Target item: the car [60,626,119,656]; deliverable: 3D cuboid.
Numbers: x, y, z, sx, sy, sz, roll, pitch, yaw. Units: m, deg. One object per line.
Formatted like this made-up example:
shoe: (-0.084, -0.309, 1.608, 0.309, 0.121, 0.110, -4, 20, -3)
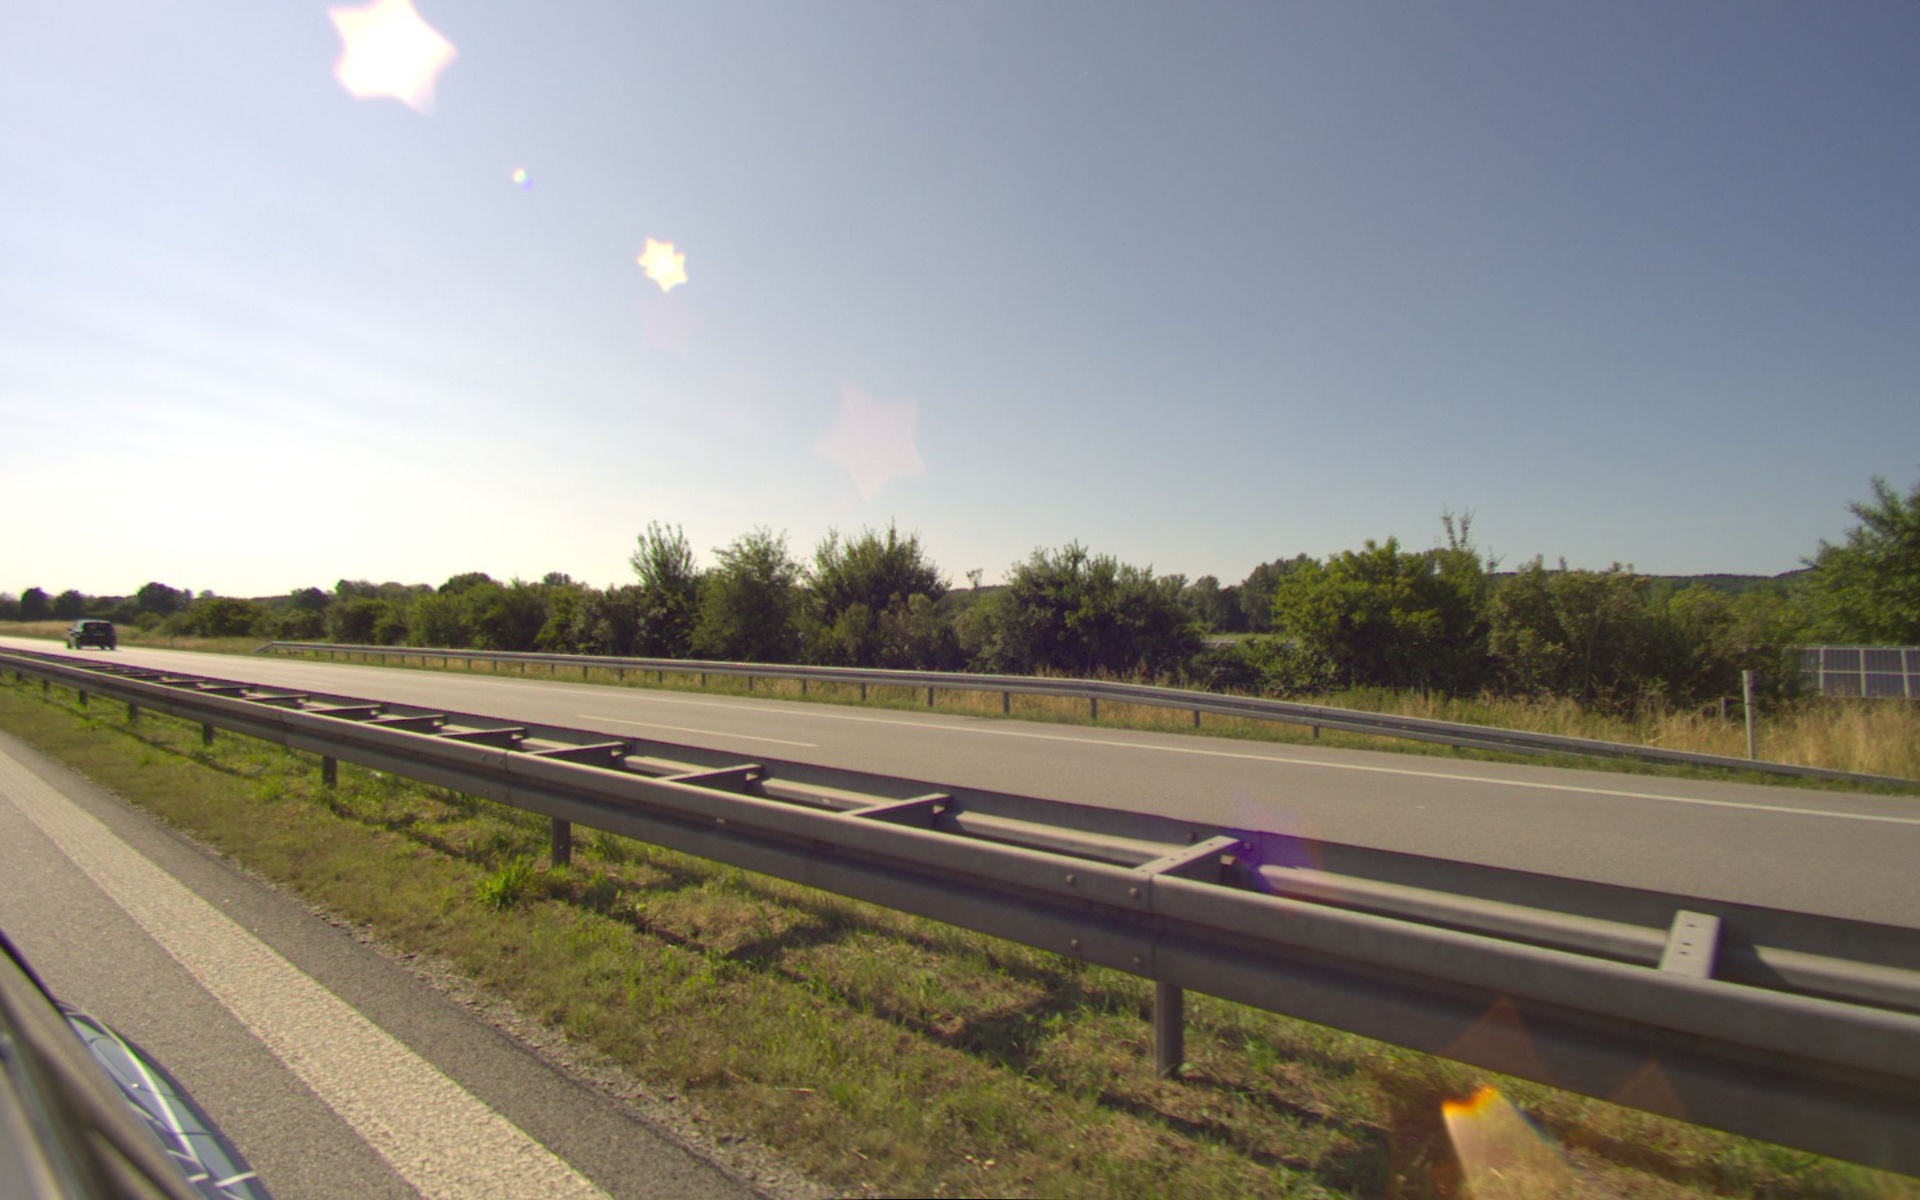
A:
car: (-49.194, 2.281, 57.157, 4.654, 1.583, 1.811, -1, -3, 41)
